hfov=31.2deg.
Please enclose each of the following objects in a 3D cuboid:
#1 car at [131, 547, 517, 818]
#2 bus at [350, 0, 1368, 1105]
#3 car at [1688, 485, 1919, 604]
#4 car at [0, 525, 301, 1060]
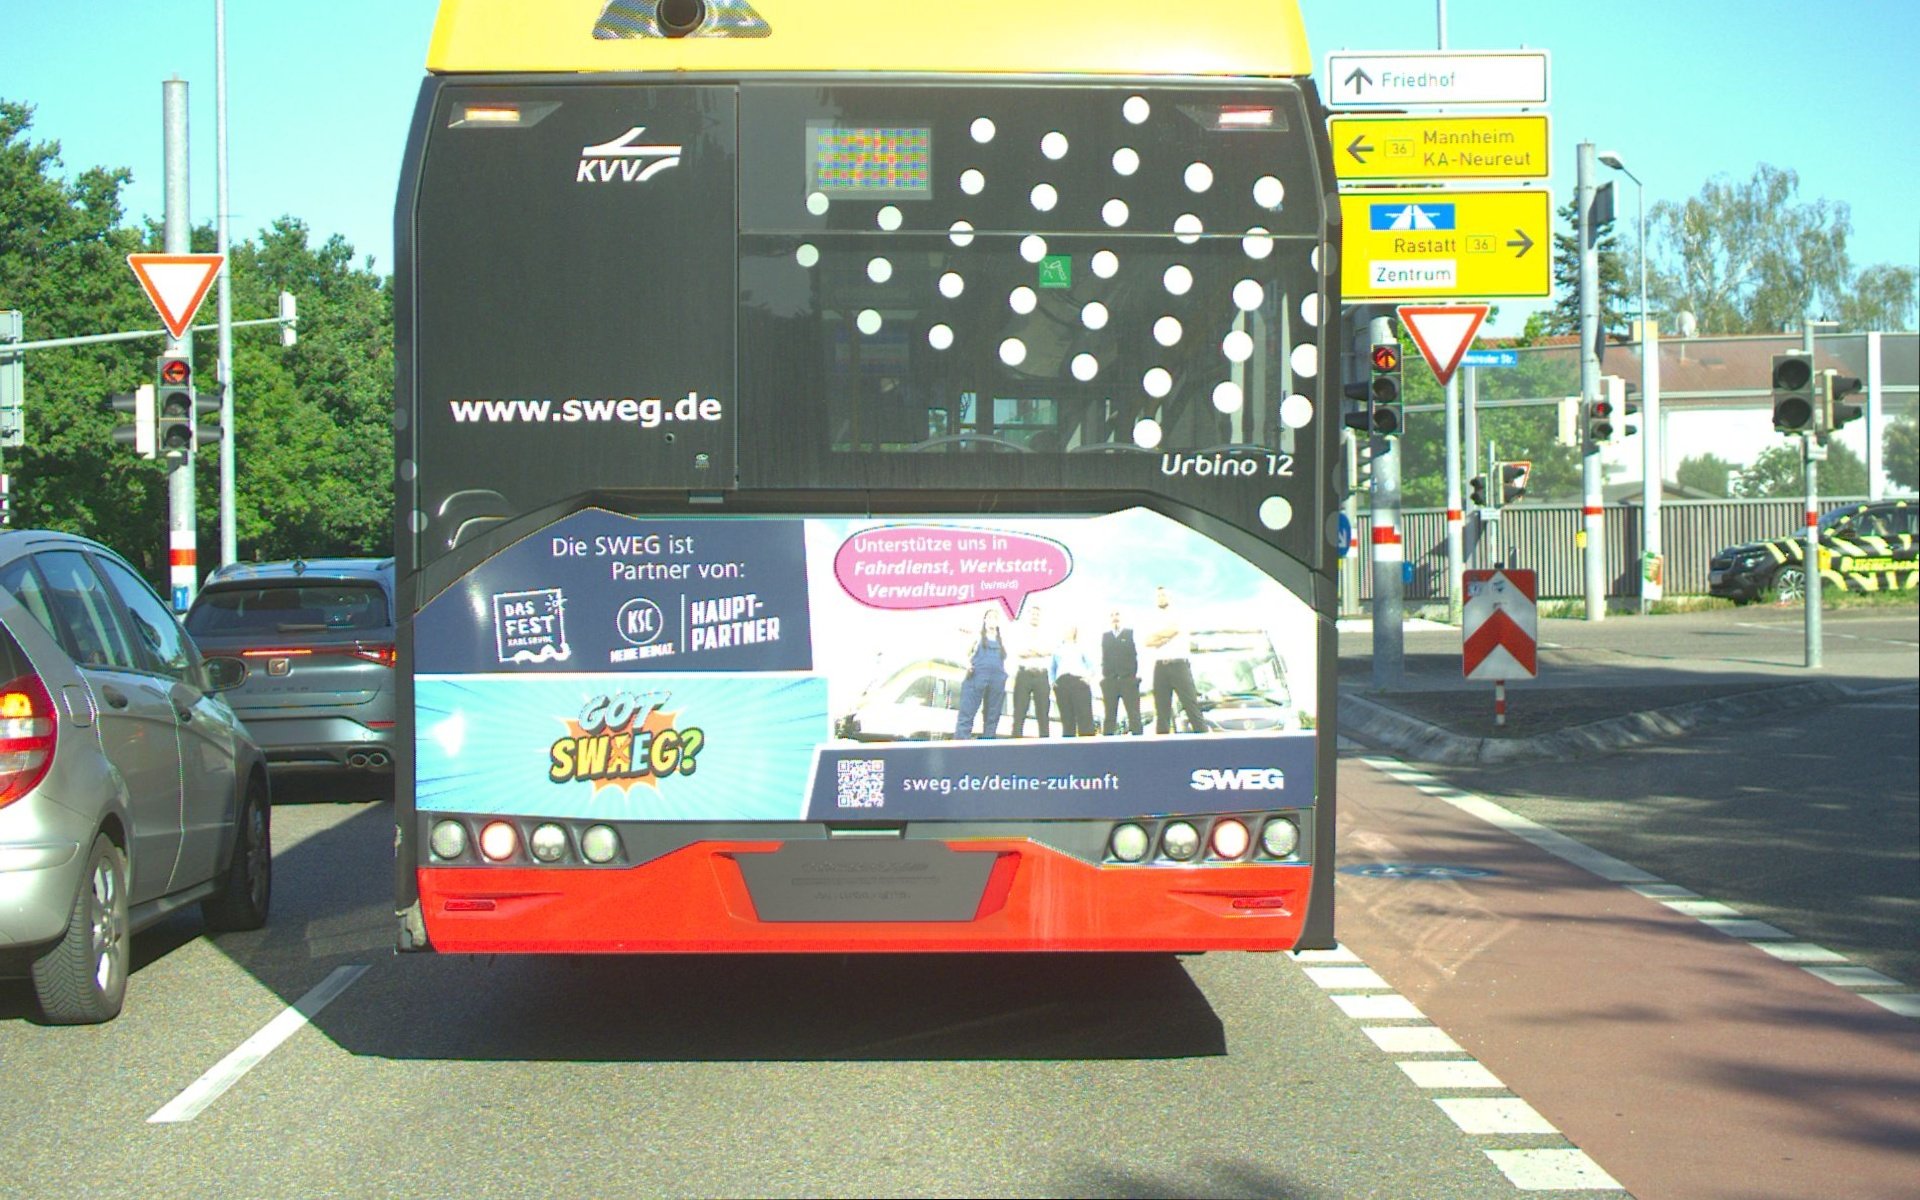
[{"bbox_3d":[-3.804,0.433,21.129,1.692,1.453,3.751,-2,1,-1],"label":"car"},{"bbox_3d":[-0.284,-0.399,14.896,2.642,3.156,11.861,0,1,0],"label":"bus"},{"bbox_3d":[12.404,-0.799,47.811,4.066,1.521,1.769,-2,1,-6],"label":"car"},{"bbox_3d":[-3.596,0.564,12.198,1.761,1.584,4.000,-2,1,-1],"label":"car"}]
